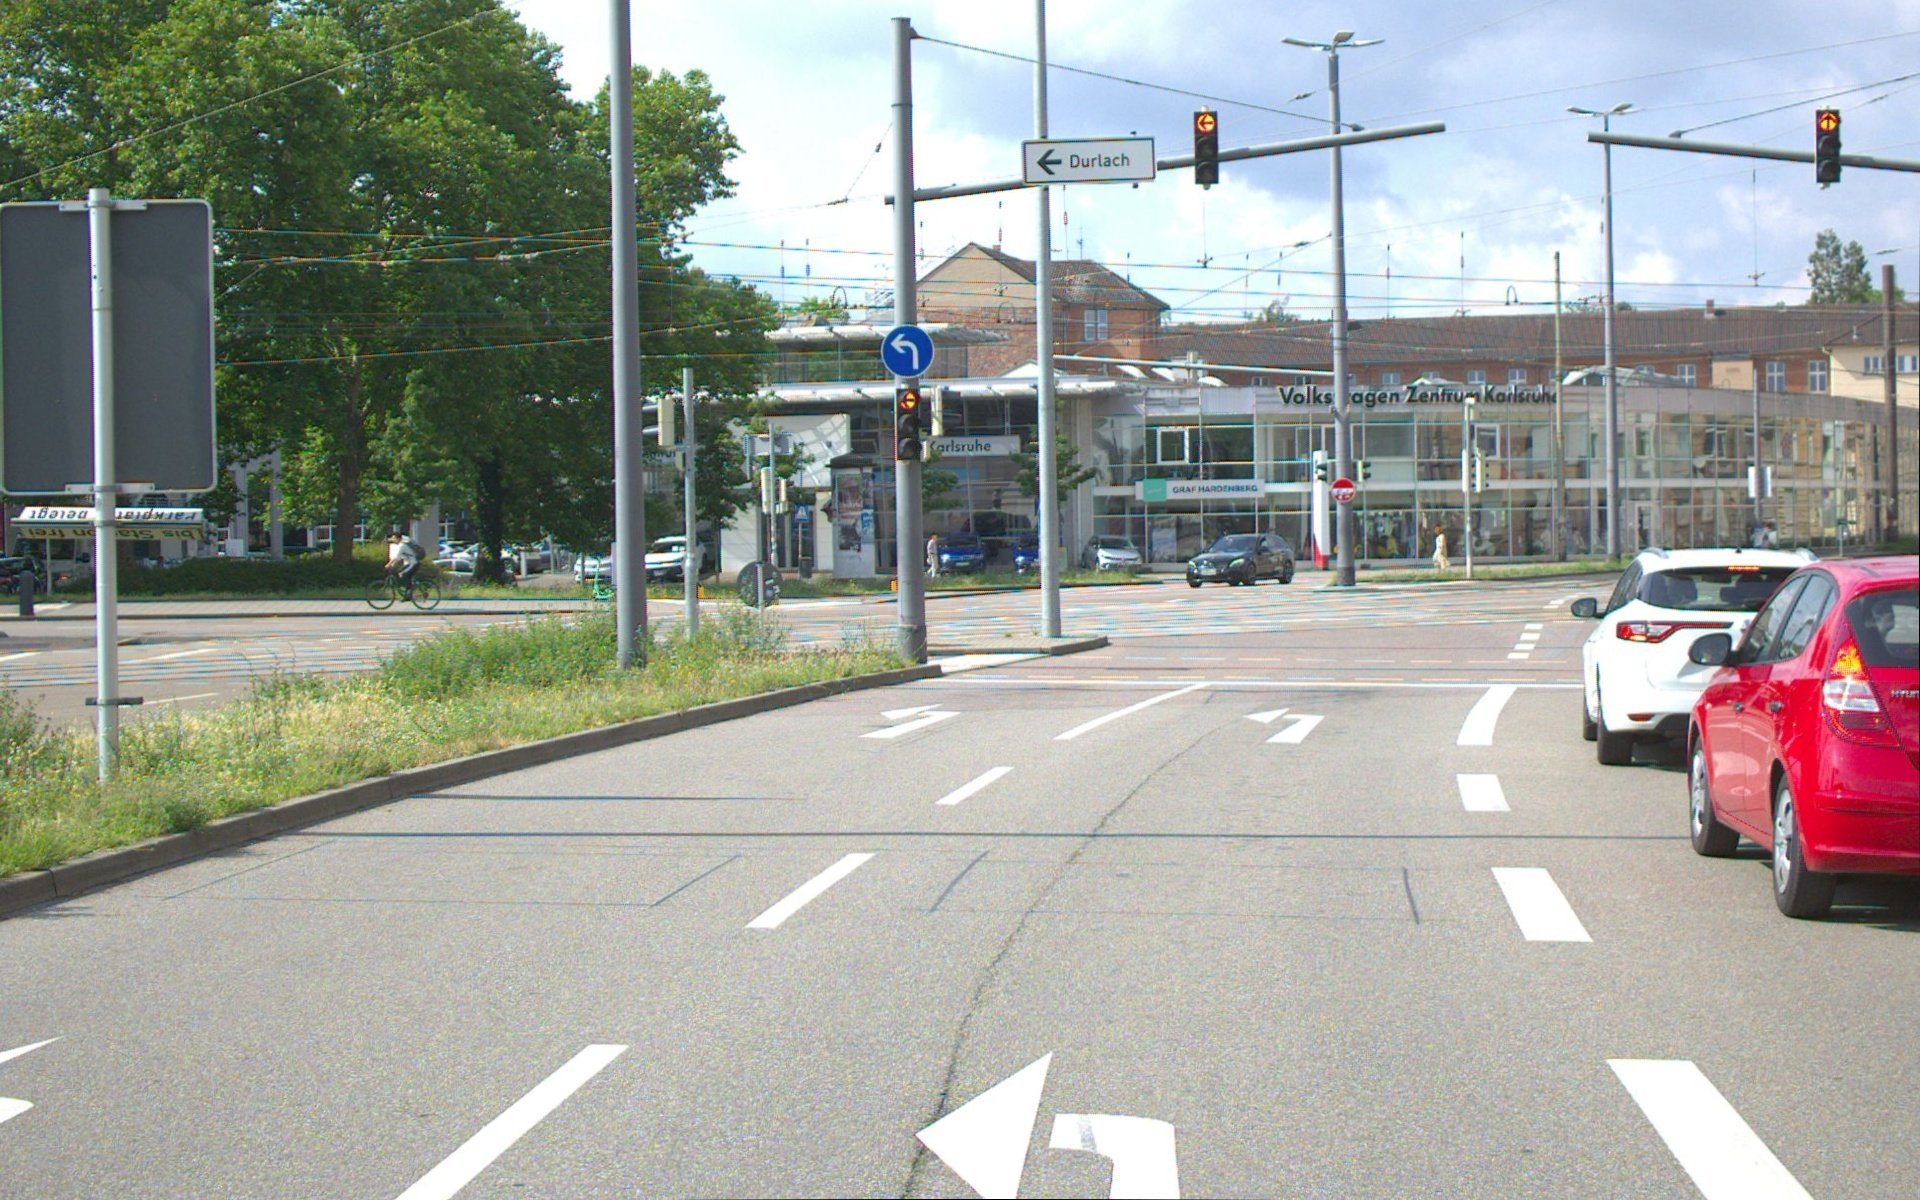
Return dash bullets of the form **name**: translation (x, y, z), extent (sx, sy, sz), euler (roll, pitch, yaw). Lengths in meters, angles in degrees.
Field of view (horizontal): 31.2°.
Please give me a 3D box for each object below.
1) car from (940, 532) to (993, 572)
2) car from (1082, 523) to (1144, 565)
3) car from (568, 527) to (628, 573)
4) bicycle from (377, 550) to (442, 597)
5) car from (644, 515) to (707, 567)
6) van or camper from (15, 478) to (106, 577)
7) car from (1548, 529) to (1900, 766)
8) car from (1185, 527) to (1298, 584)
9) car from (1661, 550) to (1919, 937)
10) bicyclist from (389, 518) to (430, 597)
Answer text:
- **car**: translation (0.263, -1.874, 133.535), extent (1.993, 1.546, 4.078), euler (0, 1, 1)
- **car**: translation (5.947, -2.190, 133.908), extent (1.993, 1.590, 4.001), euler (0, 1, -3)
- **car**: translation (-14.406, -1.998, 137.053), extent (1.798, 1.763, 4.000), euler (-1, 1, 2)
- **bicycle**: translation (-13.099, -0.635, 81.840), extent (1.464, 1.113, 0.587), euler (-1, 1, -13)
- **car**: translation (-11.264, -2.332, 136.300), extent (1.993, 2.007, 4.000), euler (-1, 1, 2)
- **van or camper**: translation (-27.547, -2.221, 105.321), extent (2.580, 2.898, 6.101), euler (-1, 1, -14)
- **car**: translation (5.189, 0.257, 23.856), extent (1.848, 1.467, 4.334), euler (-1, 1, 6)
- **car**: translation (7.833, -1.255, 95.378), extent (1.996, 1.525, 3.996), euler (0, 1, 22)
- **car**: translation (4.265, 0.524, 15.043), extent (1.816, 1.434, 4.067), euler (1, 1, 4)
- **bicyclist**: translation (-13.094, -1.022, 81.801), extent (0.885, 1.864, 0.764), euler (-1, 1, -14)
